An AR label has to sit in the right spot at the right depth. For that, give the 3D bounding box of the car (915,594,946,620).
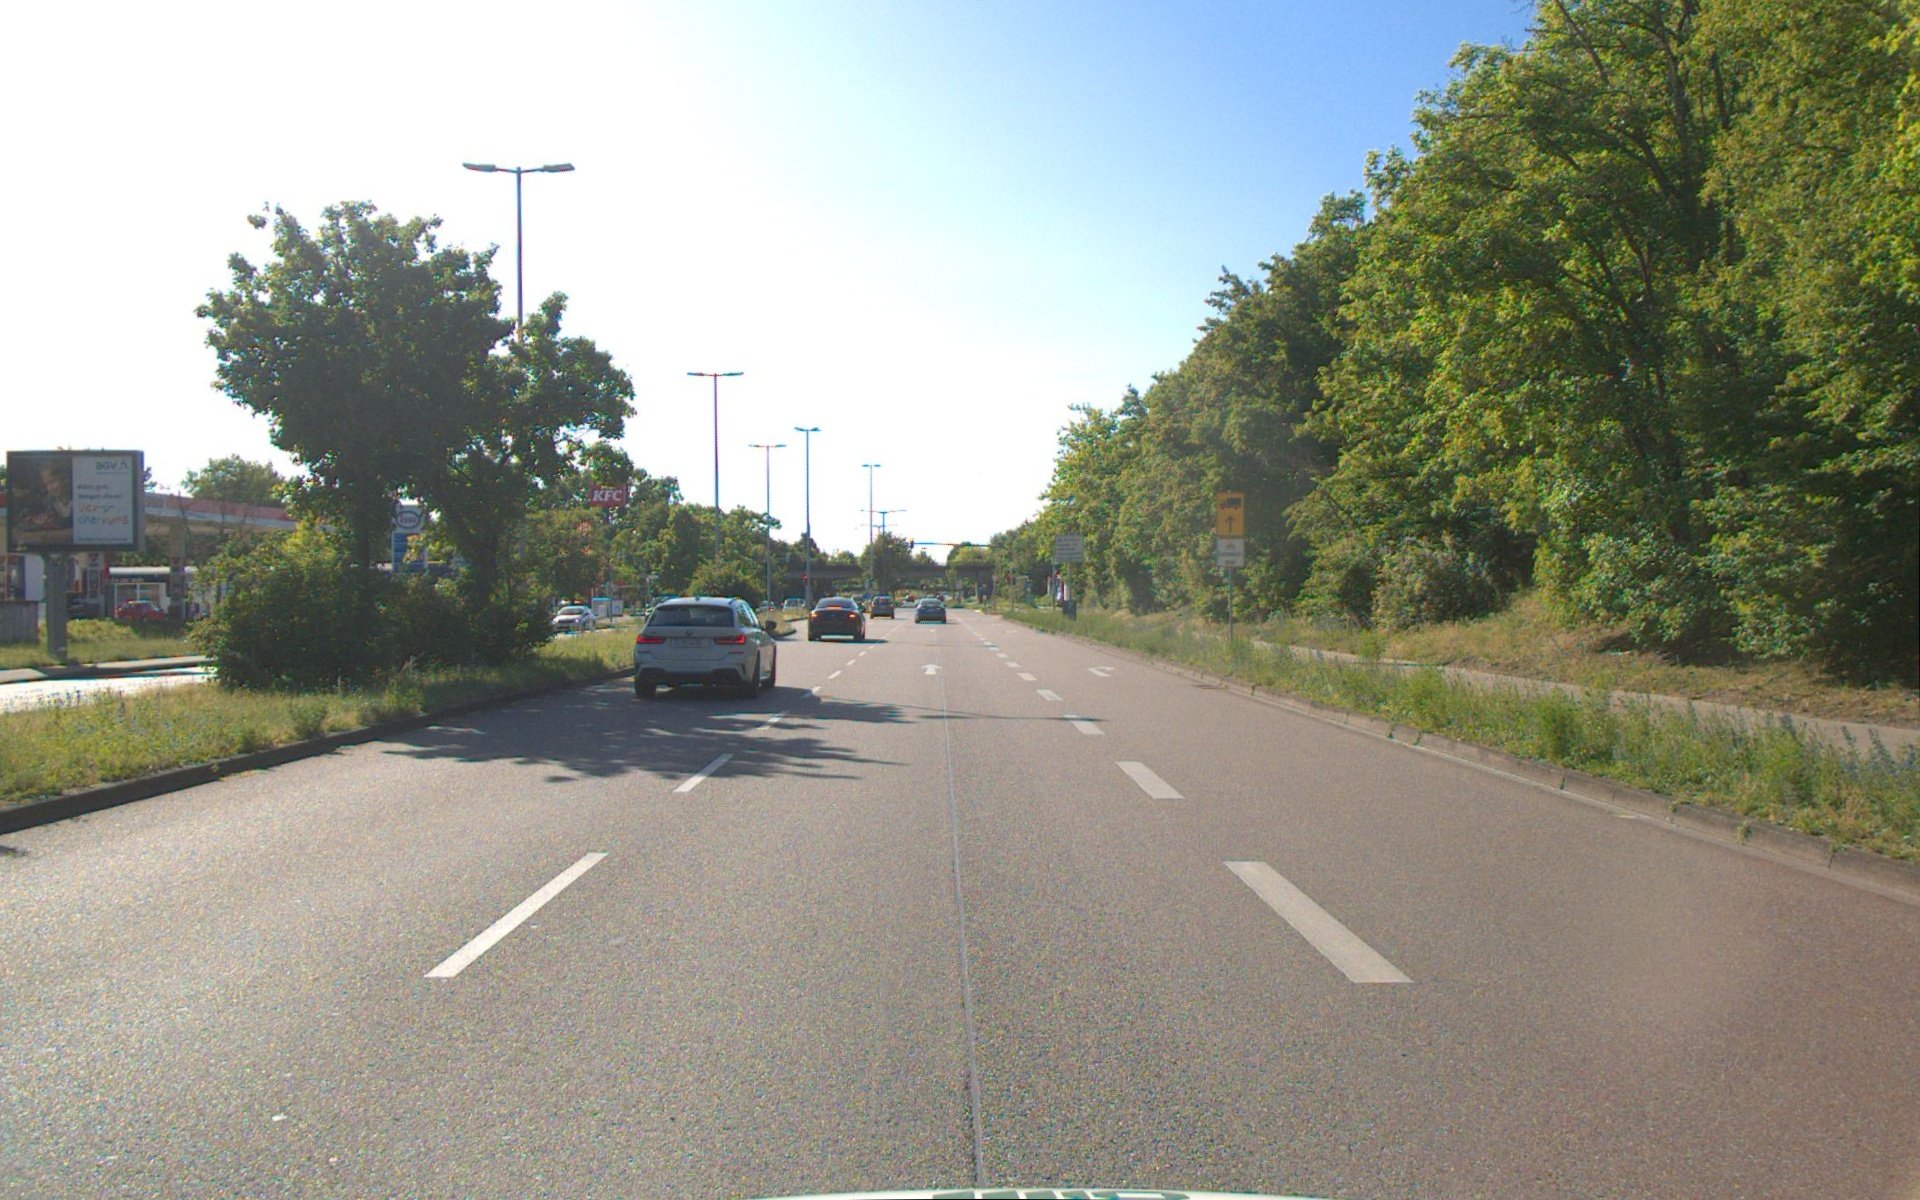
[{"bbox_3d":[-1.788,0.394,100.508,1.824,1.525,4.335,0,0,-1],"label":"car"}]

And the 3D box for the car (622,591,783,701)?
[{"bbox_3d":[-3.857,0.637,25.507,1.824,1.480,4.546,1,1,-1],"label":"car"}]

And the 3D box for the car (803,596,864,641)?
[{"bbox_3d":[-4.354,0.604,57.378,1.824,1.480,4.546,-1,0,-1],"label":"car"}]

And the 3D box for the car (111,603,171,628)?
[{"bbox_3d":[-53.526,0.985,108.134,1.773,1.577,4.293,0,0,0],"label":"car"}]

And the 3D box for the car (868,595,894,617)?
[{"bbox_3d":[-5.747,0.434,120.721,1.824,1.592,4.546,0,0,-1],"label":"car"}]

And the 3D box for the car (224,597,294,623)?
[{"bbox_3d":[-51.230,0.701,120.949,4.297,1.875,1.999,0,0,-4],"label":"car"}]

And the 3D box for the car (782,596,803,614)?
[{"bbox_3d":[-14.476,0.461,143.151,1.463,1.535,3.485,0,0,-1],"label":"car"}]

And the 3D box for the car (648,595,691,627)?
[{"bbox_3d":[-17.652,0.652,100.679,1.704,1.833,4.670,-3,0,-1],"label":"car"}]

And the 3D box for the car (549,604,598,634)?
[{"bbox_3d":[-20.972,1.010,89.944,1.704,1.481,4.208,-3,0,-1],"label":"car"}]
